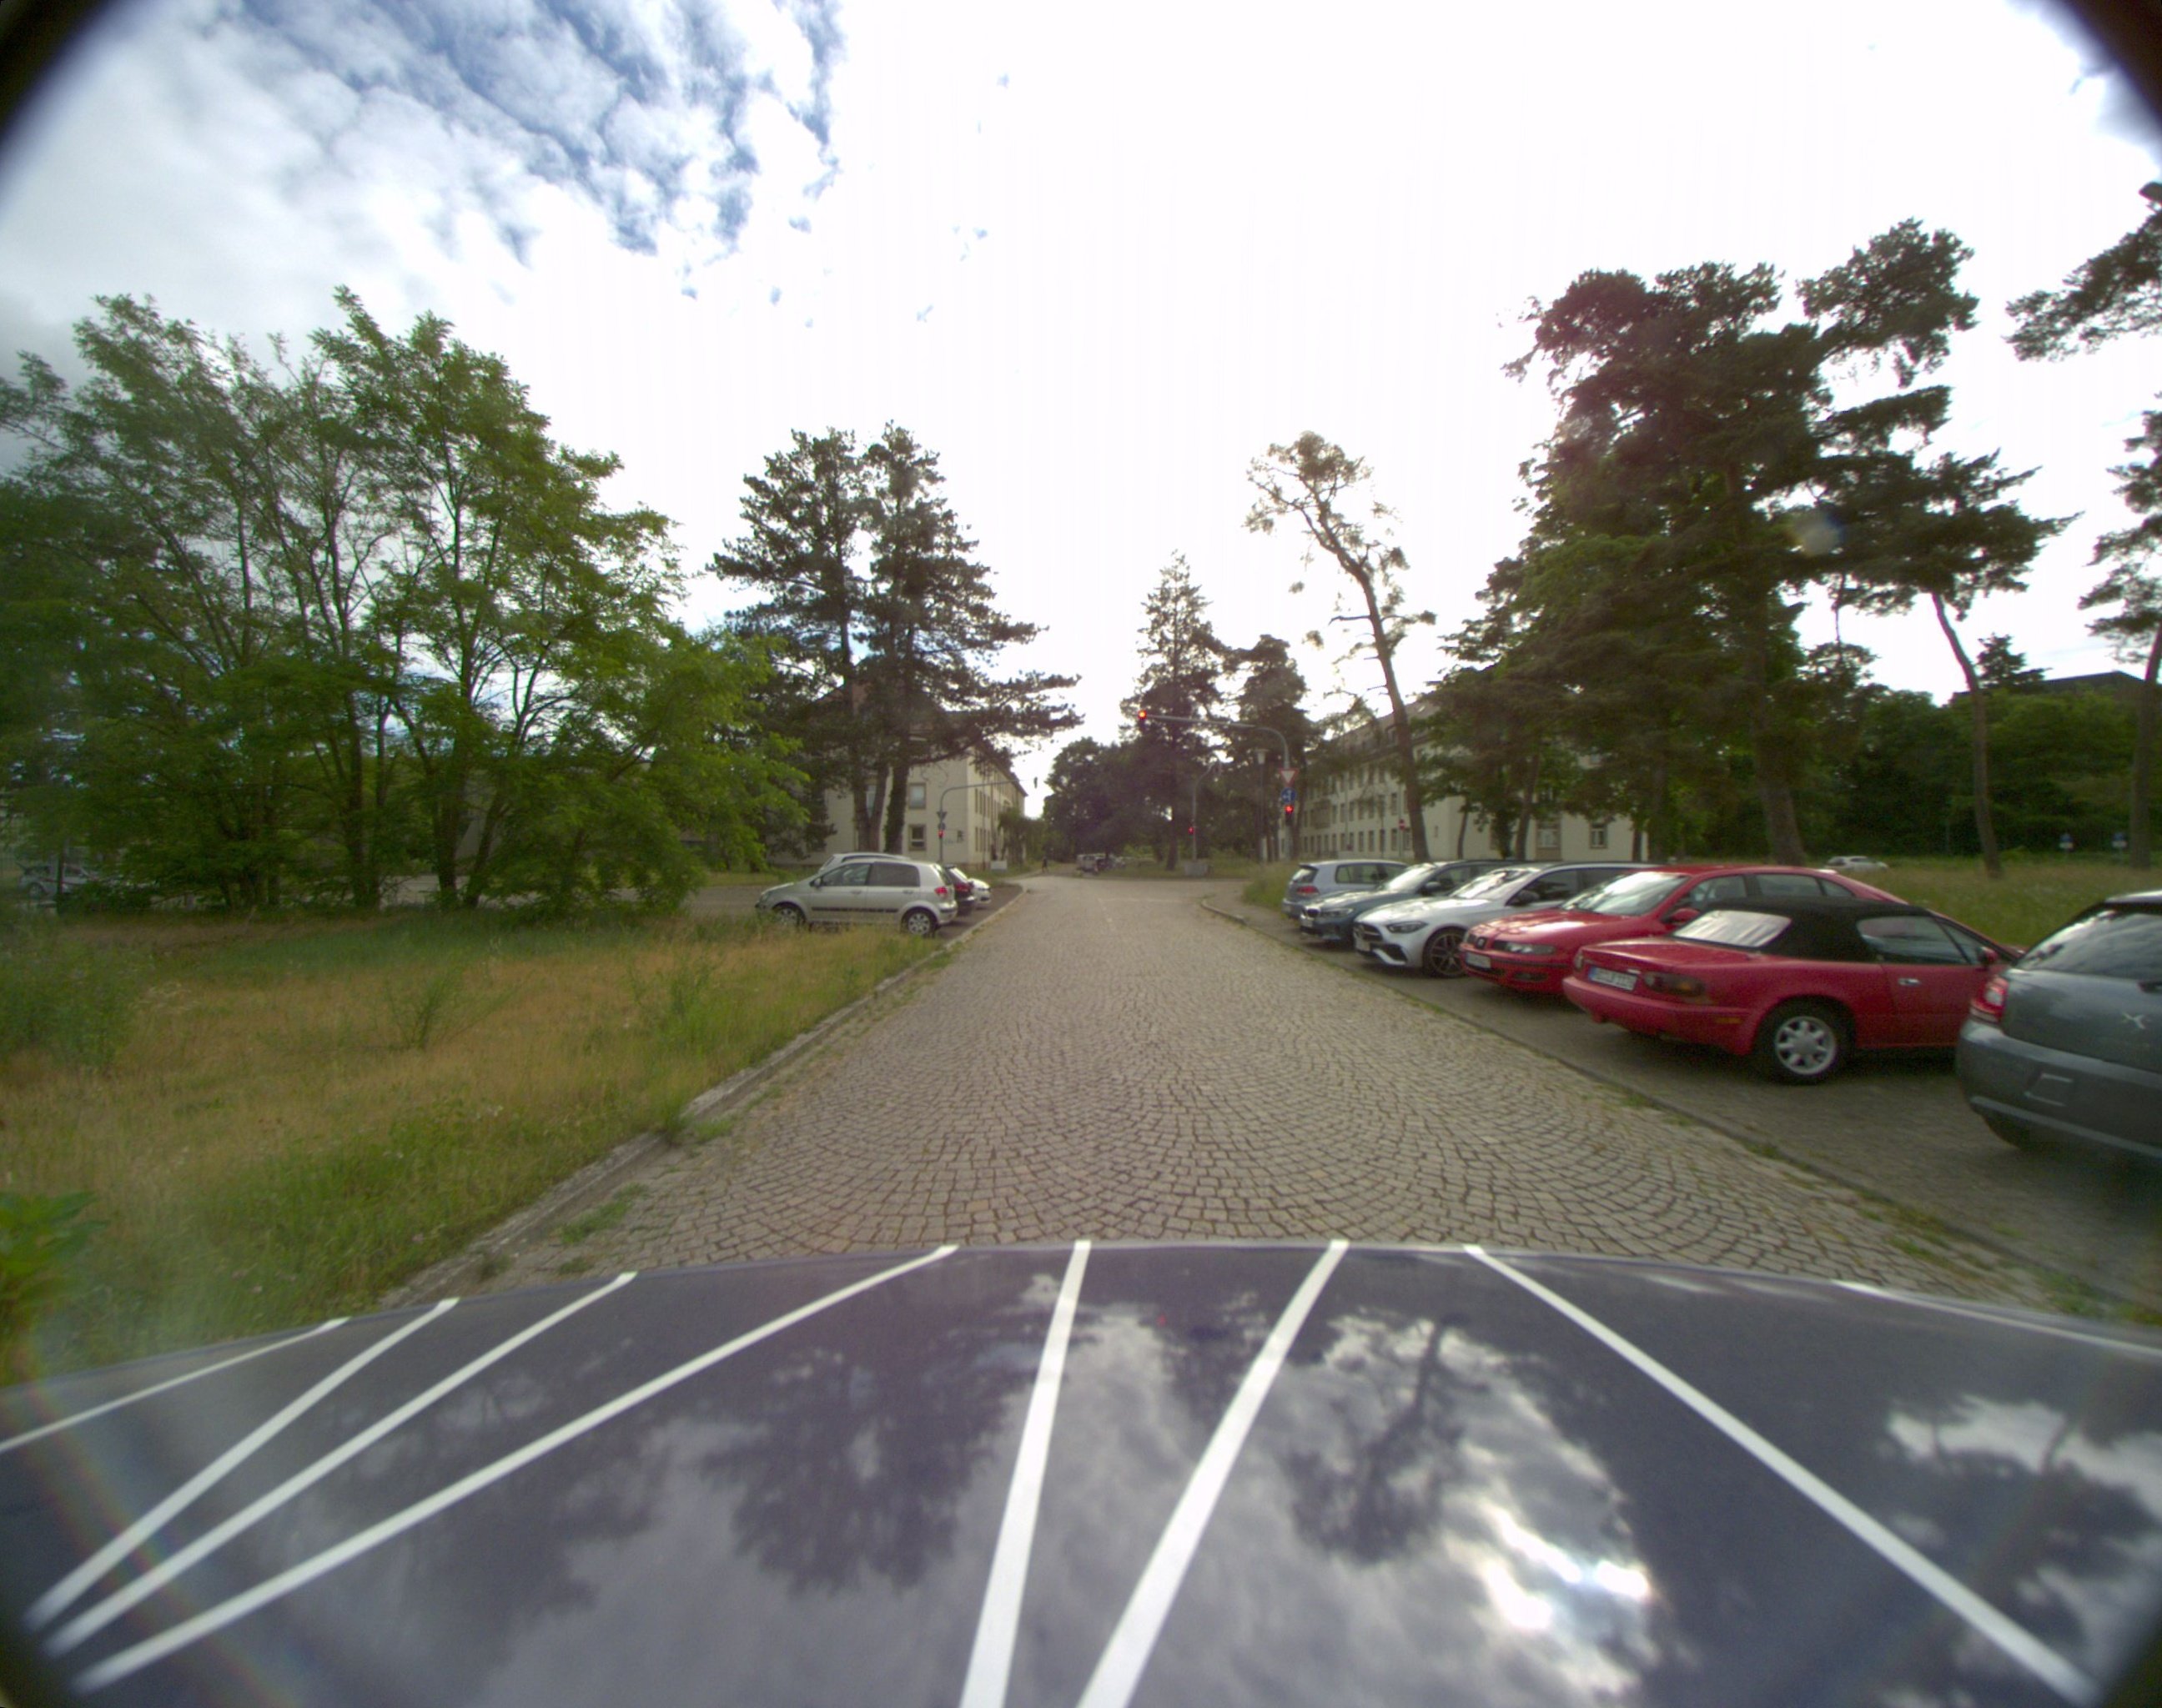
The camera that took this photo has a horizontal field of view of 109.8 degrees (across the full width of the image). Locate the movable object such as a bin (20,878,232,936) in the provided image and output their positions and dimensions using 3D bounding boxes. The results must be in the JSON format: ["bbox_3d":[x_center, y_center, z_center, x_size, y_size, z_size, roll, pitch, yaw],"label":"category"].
[{"bbox_3d":[-17.460,0.959,13.946,2.689,0.982,0.853,0,0,-3],"label":"movable object such as a bin"}]

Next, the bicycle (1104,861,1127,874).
[{"bbox_3d":[2.960,1.179,65.746,1.951,1.058,0.562,0,0,-2],"label":"bicycle"}]

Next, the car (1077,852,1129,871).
[{"bbox_3d":[2.352,0.848,83.092,5.367,1.987,2.289,0,0,-8],"label":"car"}]

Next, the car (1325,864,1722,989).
[{"bbox_3d":[5.867,0.918,10.470,4.386,1.499,1.935,0,0,-2],"label":"car"}]

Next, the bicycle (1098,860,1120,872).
[{"bbox_3d":[2.619,1.115,71.259,1.951,1.058,0.562,0,0,-2],"label":"bicycle"}]

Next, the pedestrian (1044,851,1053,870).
[{"bbox_3d":[-3.288,0.653,76.911,0.589,1.926,0.792,-1,0,-33],"label":"pedestrian"}]

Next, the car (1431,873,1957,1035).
[{"bbox_3d":[6.278,0.978,8.173,4.177,1.468,1.864,0,0,-1],"label":"car"}]

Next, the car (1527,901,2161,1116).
[{"bbox_3d":[6.033,1.056,5.802,4.176,1.259,1.831,0,0,1],"label":"car"}]

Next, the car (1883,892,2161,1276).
[{"bbox_3d":[6.395,0.933,3.144,4.176,1.473,1.846,0,0,1],"label":"car"}]

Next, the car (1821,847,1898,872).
[{"bbox_3d":[59.310,0.415,57.903,3.996,1.796,1.722,0,0,3],"label":"car"}]

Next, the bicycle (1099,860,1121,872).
[{"bbox_3d":[2.658,1.129,69.982,1.951,1.058,0.562,0,0,-2],"label":"bicycle"}]

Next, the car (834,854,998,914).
[{"bbox_3d":[-4.872,0.866,22.909,4.505,1.556,1.905,2,0,-2],"label":"car"}]

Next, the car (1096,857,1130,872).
[{"bbox_3d":[3.326,1.087,79.457,3.440,1.440,1.913,0,0,-1],"label":"car"}]

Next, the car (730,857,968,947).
[{"bbox_3d":[-4.400,0.899,14.930,4.084,1.506,1.804,2,0,-2],"label":"car"}]

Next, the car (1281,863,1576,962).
[{"bbox_3d":[5.887,0.942,13.215,4.262,1.539,1.935,0,0,-3],"label":"car"}]

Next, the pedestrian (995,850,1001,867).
[{"bbox_3d":[-8.721,0.470,80.093,0.568,1.691,0.532,0,0,4],"label":"pedestrian"}]

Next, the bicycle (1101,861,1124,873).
[{"bbox_3d":[2.819,1.149,68.001,1.951,1.058,0.562,0,0,-2],"label":"bicycle"}]

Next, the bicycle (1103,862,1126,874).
[{"bbox_3d":[2.824,1.192,64.662,1.898,1.058,0.616,0,0,-2],"label":"bicycle"}]

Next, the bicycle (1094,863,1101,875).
[{"bbox_3d":[1.332,1.205,61.241,0.459,0.903,1.663,0,0,4],"label":"bicycle"}]

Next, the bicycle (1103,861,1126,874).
[{"bbox_3d":[2.879,1.162,65.217,1.951,1.104,0.562,0,0,-2],"label":"bicycle"}]

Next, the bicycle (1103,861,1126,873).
[{"bbox_3d":[2.960,1.166,66.879,1.951,1.058,0.562,0,0,-2],"label":"bicycle"}]

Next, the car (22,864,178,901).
[{"bbox_3d":[-42.256,1.214,32.803,3.998,1.474,1.972,0,0,-3],"label":"car"}]

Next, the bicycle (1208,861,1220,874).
[{"bbox_3d":[9.082,0.932,52.072,0.294,0.910,1.052,-1,0,-21],"label":"bicycle"}]

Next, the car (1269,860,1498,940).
[{"bbox_3d":[6.156,0.906,15.812,3.997,1.534,1.905,0,0,-1],"label":"car"}]

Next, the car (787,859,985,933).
[{"bbox_3d":[-4.388,0.935,17.639,4.084,1.444,1.885,2,0,-2],"label":"car"}]

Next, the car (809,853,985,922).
[{"bbox_3d":[-4.816,0.862,20.356,4.252,1.587,1.884,2,0,-4],"label":"car"}]

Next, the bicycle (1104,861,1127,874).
[{"bbox_3d":[3.045,1.172,66.394,1.951,1.058,0.562,0,0,-2],"label":"bicycle"}]
